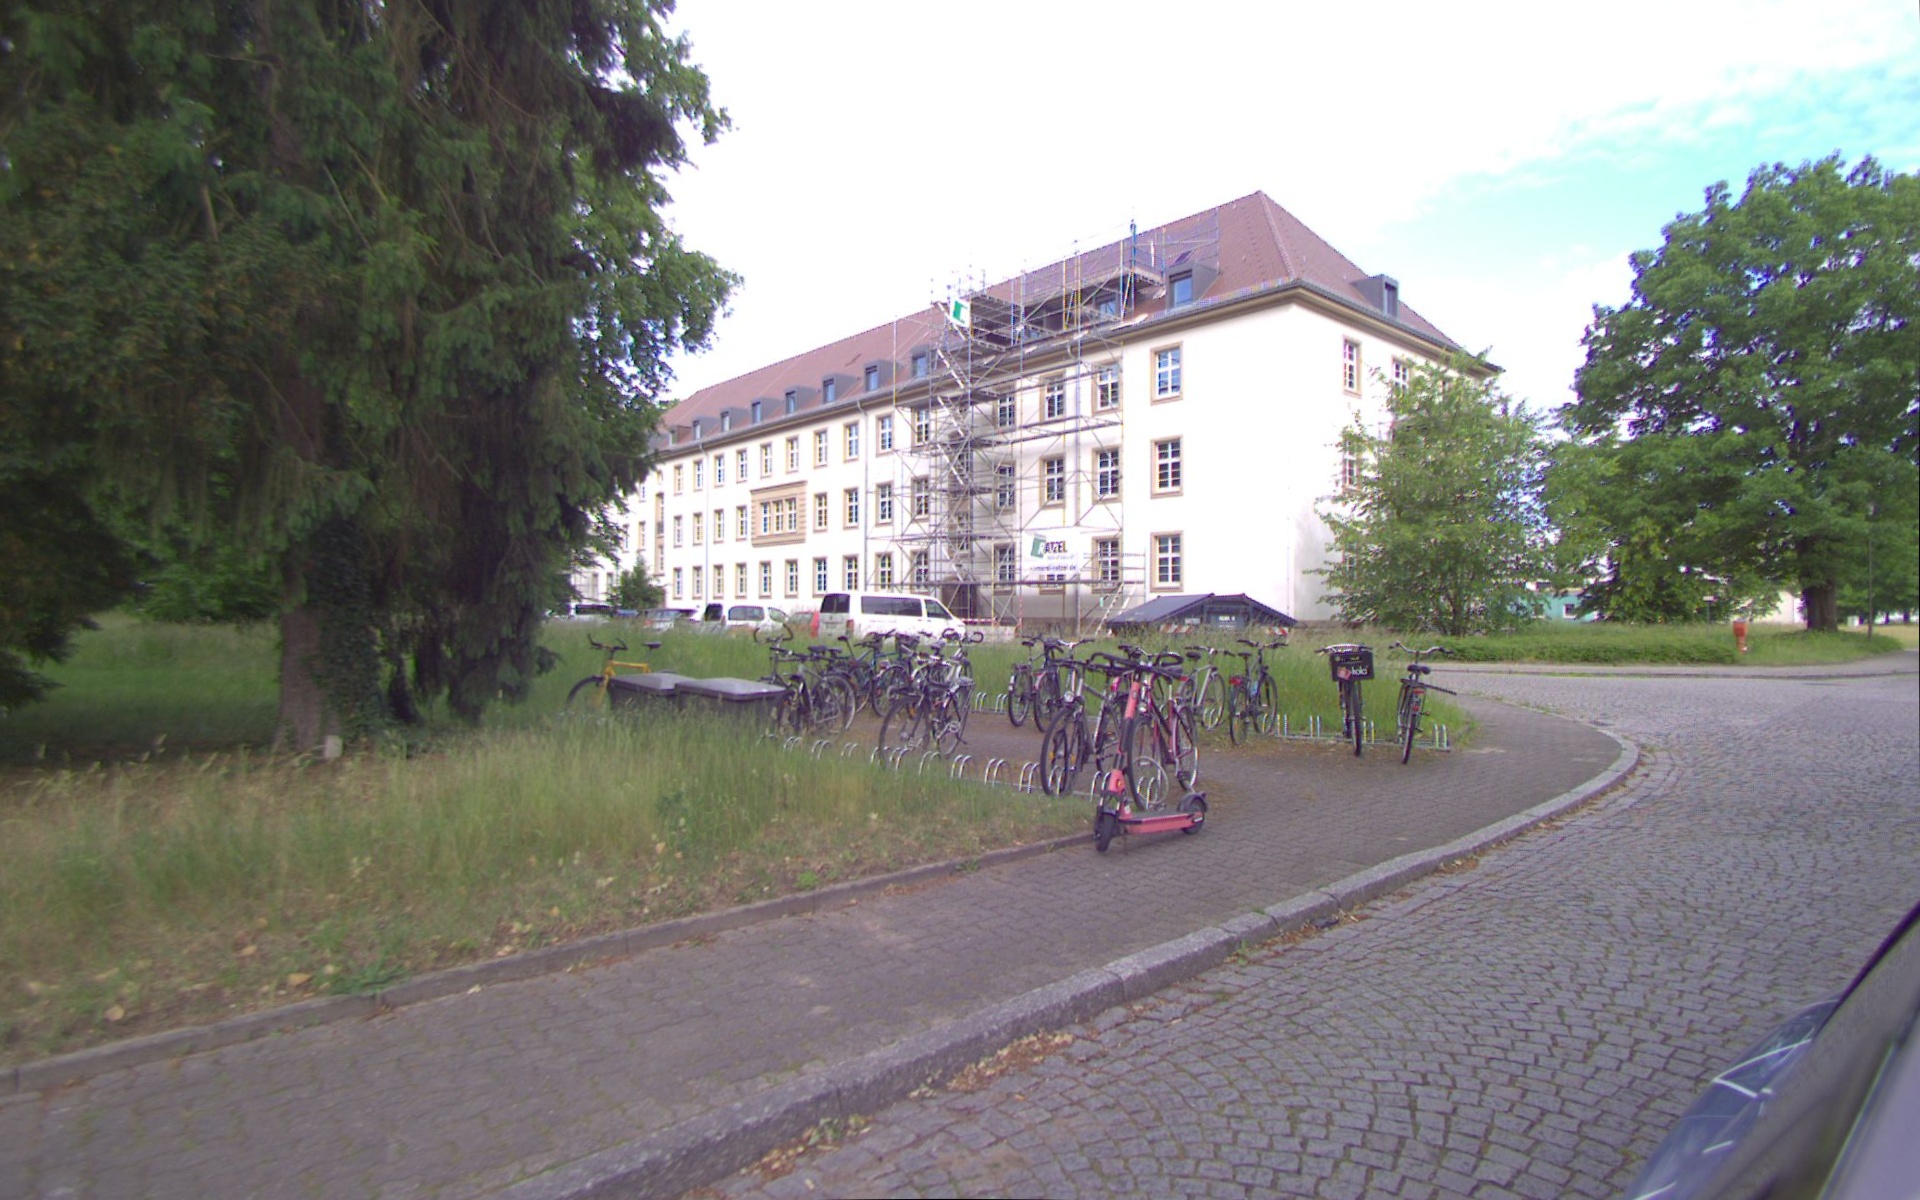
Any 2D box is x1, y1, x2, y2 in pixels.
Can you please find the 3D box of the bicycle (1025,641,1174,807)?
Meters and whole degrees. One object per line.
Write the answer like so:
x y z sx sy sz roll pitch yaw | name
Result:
1.163 0.916 8.123 0.547 1.129 1.785 -1 -1 30 | bicycle

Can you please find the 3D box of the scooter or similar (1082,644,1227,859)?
1.263 0.909 6.473 0.356 1.225 1.119 -1 -2 44 | scooter or similar

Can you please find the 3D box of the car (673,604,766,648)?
-9.021 0.943 38.089 3.193 1.585 1.328 0 -1 -42 | car

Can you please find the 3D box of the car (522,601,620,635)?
-19.923 0.893 51.943 4.467 1.669 1.465 0 -1 -42 | car

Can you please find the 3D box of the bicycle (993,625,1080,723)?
0.986 0.887 12.711 0.473 1.126 1.749 -1 -1 26 | bicycle

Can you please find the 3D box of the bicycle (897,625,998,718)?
-0.140 0.901 13.364 0.474 1.126 1.745 -1 -1 32 | bicycle

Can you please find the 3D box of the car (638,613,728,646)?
-10.923 1.130 40.016 3.193 1.233 1.294 0 -1 -42 | car

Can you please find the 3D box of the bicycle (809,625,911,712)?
-1.373 0.920 14.251 0.474 1.126 1.745 -1 -1 32 | bicycle

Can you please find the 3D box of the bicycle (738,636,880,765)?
-1.411 0.910 9.766 0.545 1.079 1.740 -1 -1 22 | bicycle

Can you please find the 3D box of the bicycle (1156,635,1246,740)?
2.750 0.946 11.440 0.474 1.020 1.649 -1 0 32 | bicycle

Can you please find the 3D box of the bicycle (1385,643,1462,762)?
4.631 0.983 10.188 0.471 1.020 1.614 -1 0 17 | bicycle

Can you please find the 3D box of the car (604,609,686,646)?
-13.915 1.173 44.738 3.193 1.585 1.381 0 -1 -42 | car

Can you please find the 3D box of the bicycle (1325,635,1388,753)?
4.185 0.950 10.739 0.471 1.087 1.614 -1 0 17 | bicycle

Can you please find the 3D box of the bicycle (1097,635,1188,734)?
2.182 0.957 11.966 0.474 1.020 1.649 -1 0 32 | bicycle

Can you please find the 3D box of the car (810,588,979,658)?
-1.966 0.694 31.645 5.186 2.022 1.964 0 -1 -42 | car

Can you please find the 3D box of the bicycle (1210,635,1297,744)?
3.232 0.937 11.052 0.474 1.020 1.649 -1 0 32 | bicycle

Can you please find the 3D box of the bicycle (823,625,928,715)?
-1.117 0.915 13.722 0.440 1.126 1.629 -1 -1 37 | bicycle

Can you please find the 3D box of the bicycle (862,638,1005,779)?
-0.188 0.907 9.102 0.611 1.079 1.811 -1 -1 22 | bicycle

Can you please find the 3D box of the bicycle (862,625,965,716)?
-0.599 0.911 13.529 0.440 1.126 1.629 -1 -1 37 | bicycle

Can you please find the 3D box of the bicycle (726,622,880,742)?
-1.666 0.840 11.000 0.549 1.186 1.729 -1 -1 40 | bicycle

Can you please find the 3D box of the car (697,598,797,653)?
-7.650 0.888 36.450 3.193 1.867 1.601 0 -1 -42 | car

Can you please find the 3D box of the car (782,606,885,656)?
-4.105 0.974 33.042 3.193 1.546 1.309 0 -1 -42 | car

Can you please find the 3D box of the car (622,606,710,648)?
-12.166 1.103 41.949 3.193 1.682 1.437 0 -1 -42 | car

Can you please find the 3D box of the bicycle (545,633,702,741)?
-3.658 0.911 11.144 0.547 1.055 1.662 -1 -1 34 | bicycle

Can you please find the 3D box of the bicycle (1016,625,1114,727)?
1.306 0.878 12.281 0.474 1.126 1.745 -1 -1 32 | bicycle

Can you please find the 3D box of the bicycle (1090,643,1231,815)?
1.609 0.932 7.918 0.547 1.129 1.750 -1 -1 30 | bicycle
